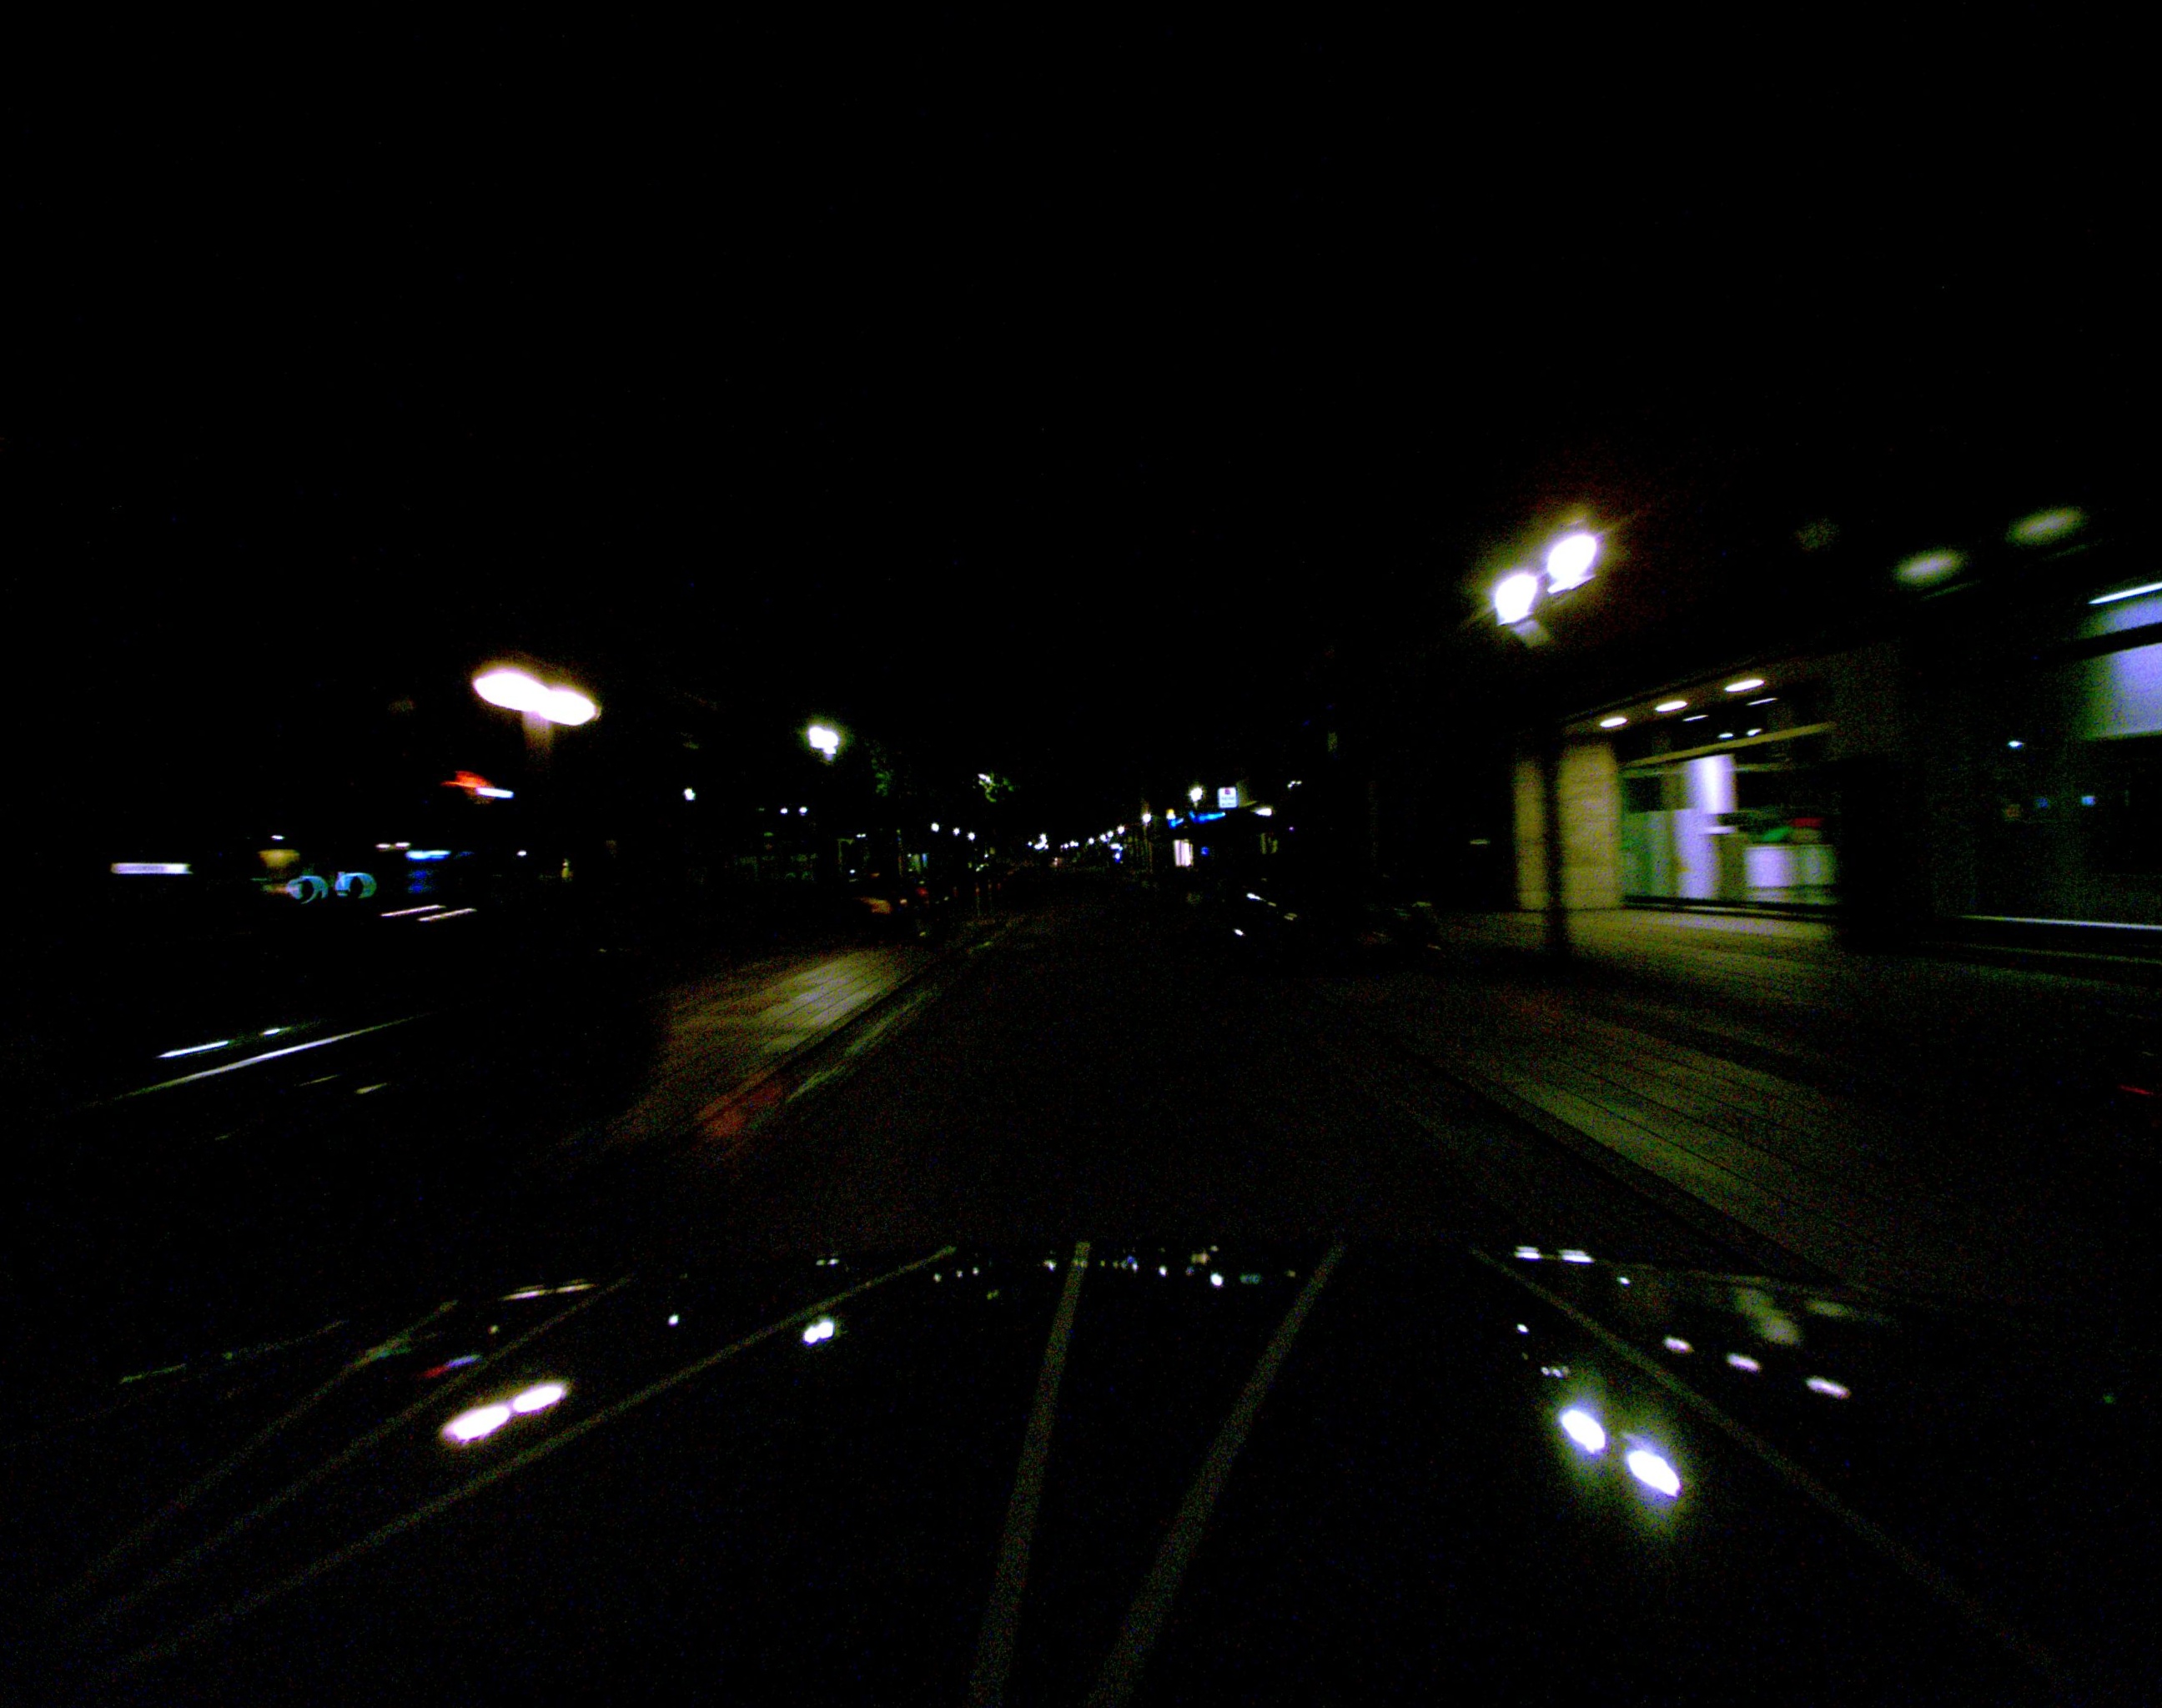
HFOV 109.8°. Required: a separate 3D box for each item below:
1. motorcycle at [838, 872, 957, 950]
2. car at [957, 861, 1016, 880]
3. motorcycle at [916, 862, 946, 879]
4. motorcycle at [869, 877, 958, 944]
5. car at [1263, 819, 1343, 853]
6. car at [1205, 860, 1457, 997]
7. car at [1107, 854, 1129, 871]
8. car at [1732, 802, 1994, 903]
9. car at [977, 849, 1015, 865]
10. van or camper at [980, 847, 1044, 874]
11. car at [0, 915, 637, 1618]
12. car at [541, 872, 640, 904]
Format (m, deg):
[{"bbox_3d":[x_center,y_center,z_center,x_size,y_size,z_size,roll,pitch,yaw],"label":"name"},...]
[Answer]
[{"bbox_3d":[-3.532,1.066,14.555,2.266,1.383,0.662,-1,0,25],"label":"motorcycle"},{"bbox_3d":[-7.818,1.374,63.112,4.555,1.447,1.633,-2,0,-36],"label":"car"},{"bbox_3d":[-11.514,1.266,58.301,2.226,1.263,0.531,-2,0,-43],"label":"motorcycle"},{"bbox_3d":[-3.501,1.137,15.771,2.164,1.290,0.516,-1,0,38],"label":"motorcycle"},{"bbox_3d":[11.674,-0.908,40.078,3.610,1.511,1.799,-3,-2,-4],"label":"car"},{"bbox_3d":[3.213,0.855,10.874,1.905,1.461,4.524,-3,0,-2],"label":"car"},{"bbox_3d":[3.402,0.771,69.966,1.655,1.417,4.014,-5,0,-2],"label":"car"},{"bbox_3d":[15.979,0.014,15.689,3.434,1.770,1.772,-3,-2,1],"label":"car"},{"bbox_3d":[-8.323,0.327,74.324,3.183,1.447,1.691,-2,0,-28],"label":"car"},{"bbox_3d":[-6.983,0.684,77.566,6.061,2.518,2.158,-2,0,-31],"label":"van or camper"},{"bbox_3d":[-3.389,1.052,1.881,1.757,1.455,4.468,0,0,3],"label":"car"},{"bbox_3d":[-26.174,1.815,40.654,3.997,1.580,1.901,-1,-1,-1],"label":"car"}]
